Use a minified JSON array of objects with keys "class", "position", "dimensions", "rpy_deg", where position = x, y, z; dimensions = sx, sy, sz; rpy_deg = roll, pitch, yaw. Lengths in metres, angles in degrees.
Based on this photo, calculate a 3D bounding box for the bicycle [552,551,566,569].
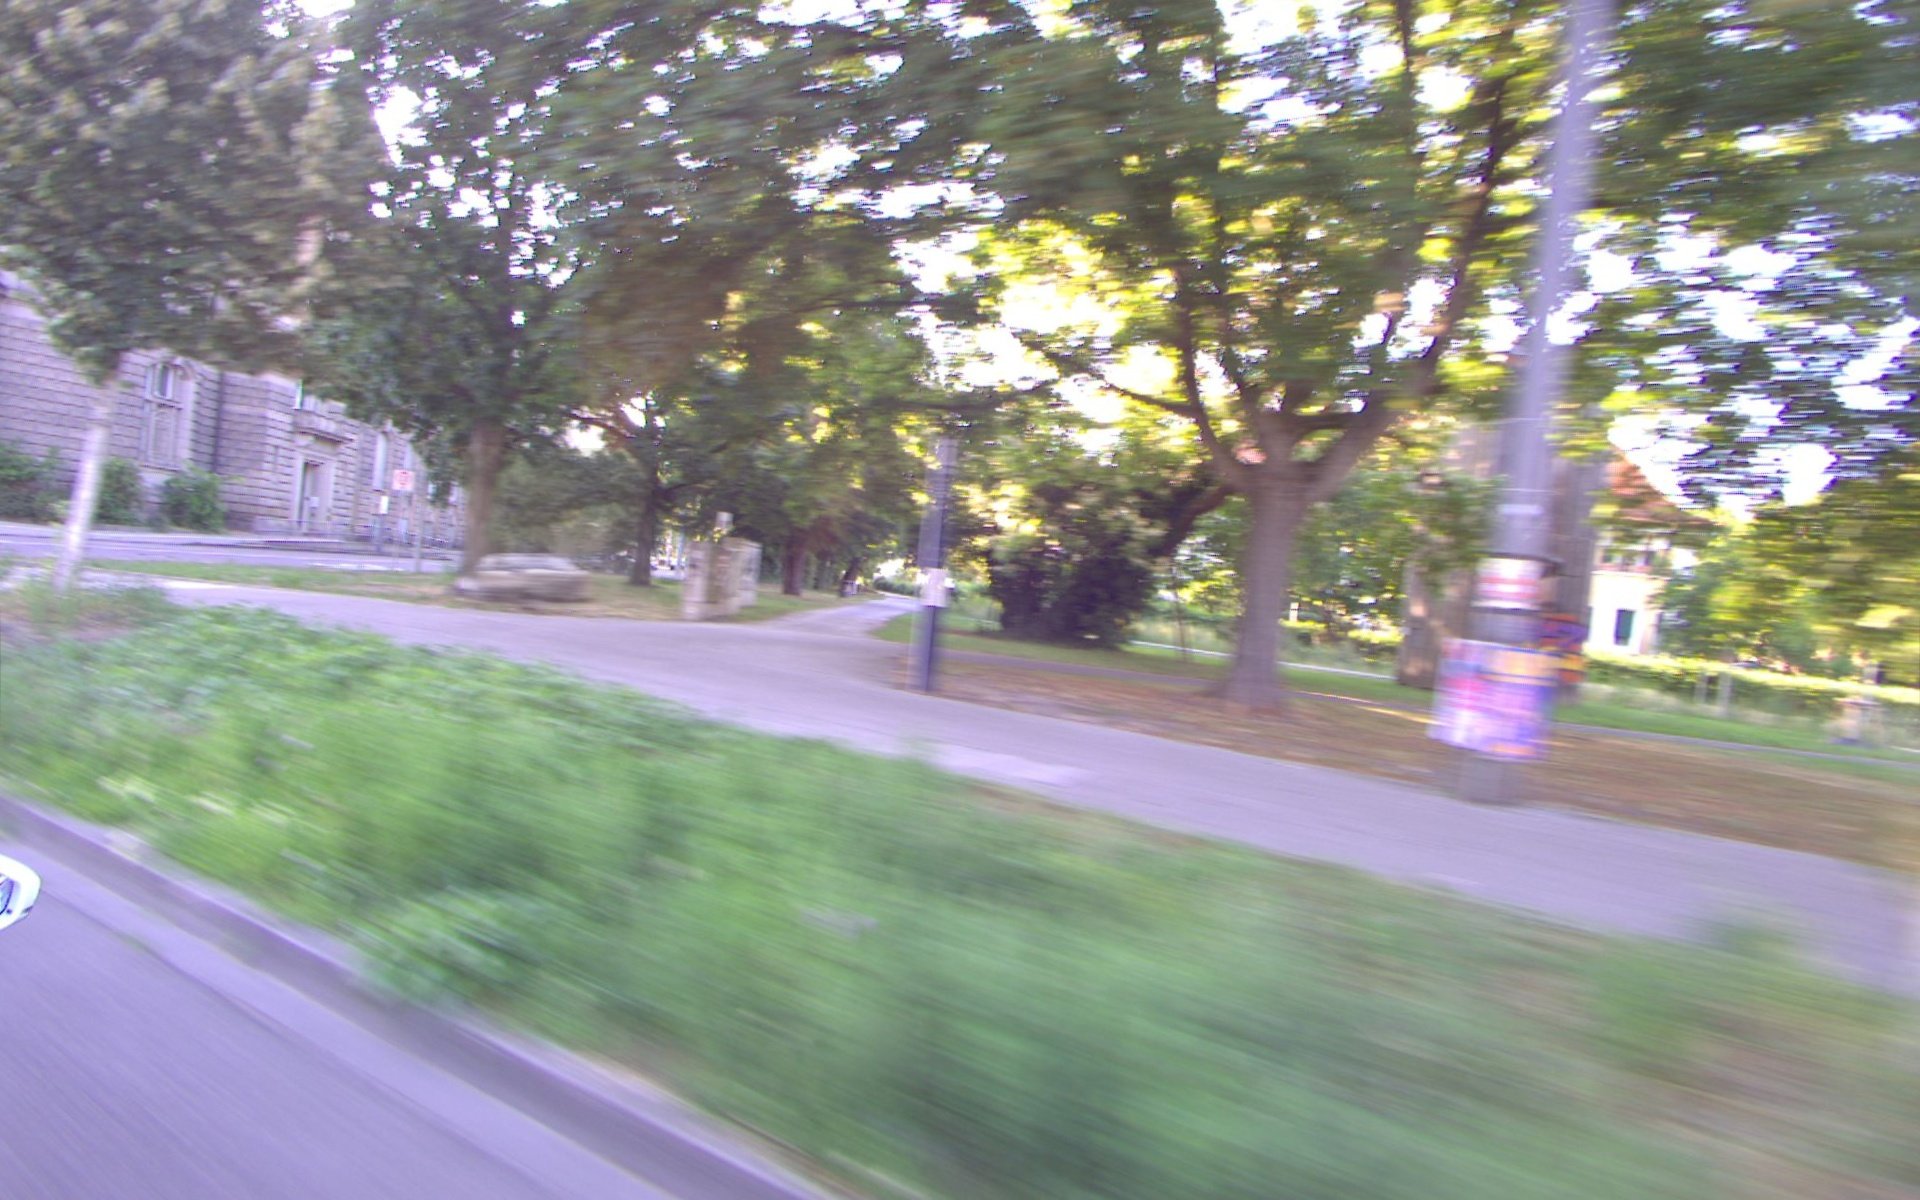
[{"class":"bicycle","position":[-26.060,-2.599,65.398],"dimensions":[0.656,1.084,2.139],"rpy_deg":[5,1,-25]}]

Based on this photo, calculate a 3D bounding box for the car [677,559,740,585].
[{"class":"car","position":[-18.991,-2.117,76.038],"dimensions":[4.378,1.488,1.779],"rpy_deg":[6,1,-9]}]

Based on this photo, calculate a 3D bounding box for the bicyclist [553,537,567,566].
[{"class":"bicyclist","position":[-26.001,-3.154,65.392],"dimensions":[0.639,1.830,0.775],"rpy_deg":[5,2,-26]}]

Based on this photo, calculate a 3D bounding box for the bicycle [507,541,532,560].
[{"class":"bicycle","position":[-30.229,-3.377,69.094],"dimensions":[0.840,1.115,1.980],"rpy_deg":[8,0,-4]}]

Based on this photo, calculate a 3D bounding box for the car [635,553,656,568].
[{"class":"car","position":[-35.082,-4.369,112.303],"dimensions":[1.704,1.415,4.363],"rpy_deg":[7,0,-11]}]

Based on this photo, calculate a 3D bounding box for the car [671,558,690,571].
[{"class":"car","position":[-35.913,-4.585,129.442],"dimensions":[1.853,1.485,4.362],"rpy_deg":[7,1,-11]}]
